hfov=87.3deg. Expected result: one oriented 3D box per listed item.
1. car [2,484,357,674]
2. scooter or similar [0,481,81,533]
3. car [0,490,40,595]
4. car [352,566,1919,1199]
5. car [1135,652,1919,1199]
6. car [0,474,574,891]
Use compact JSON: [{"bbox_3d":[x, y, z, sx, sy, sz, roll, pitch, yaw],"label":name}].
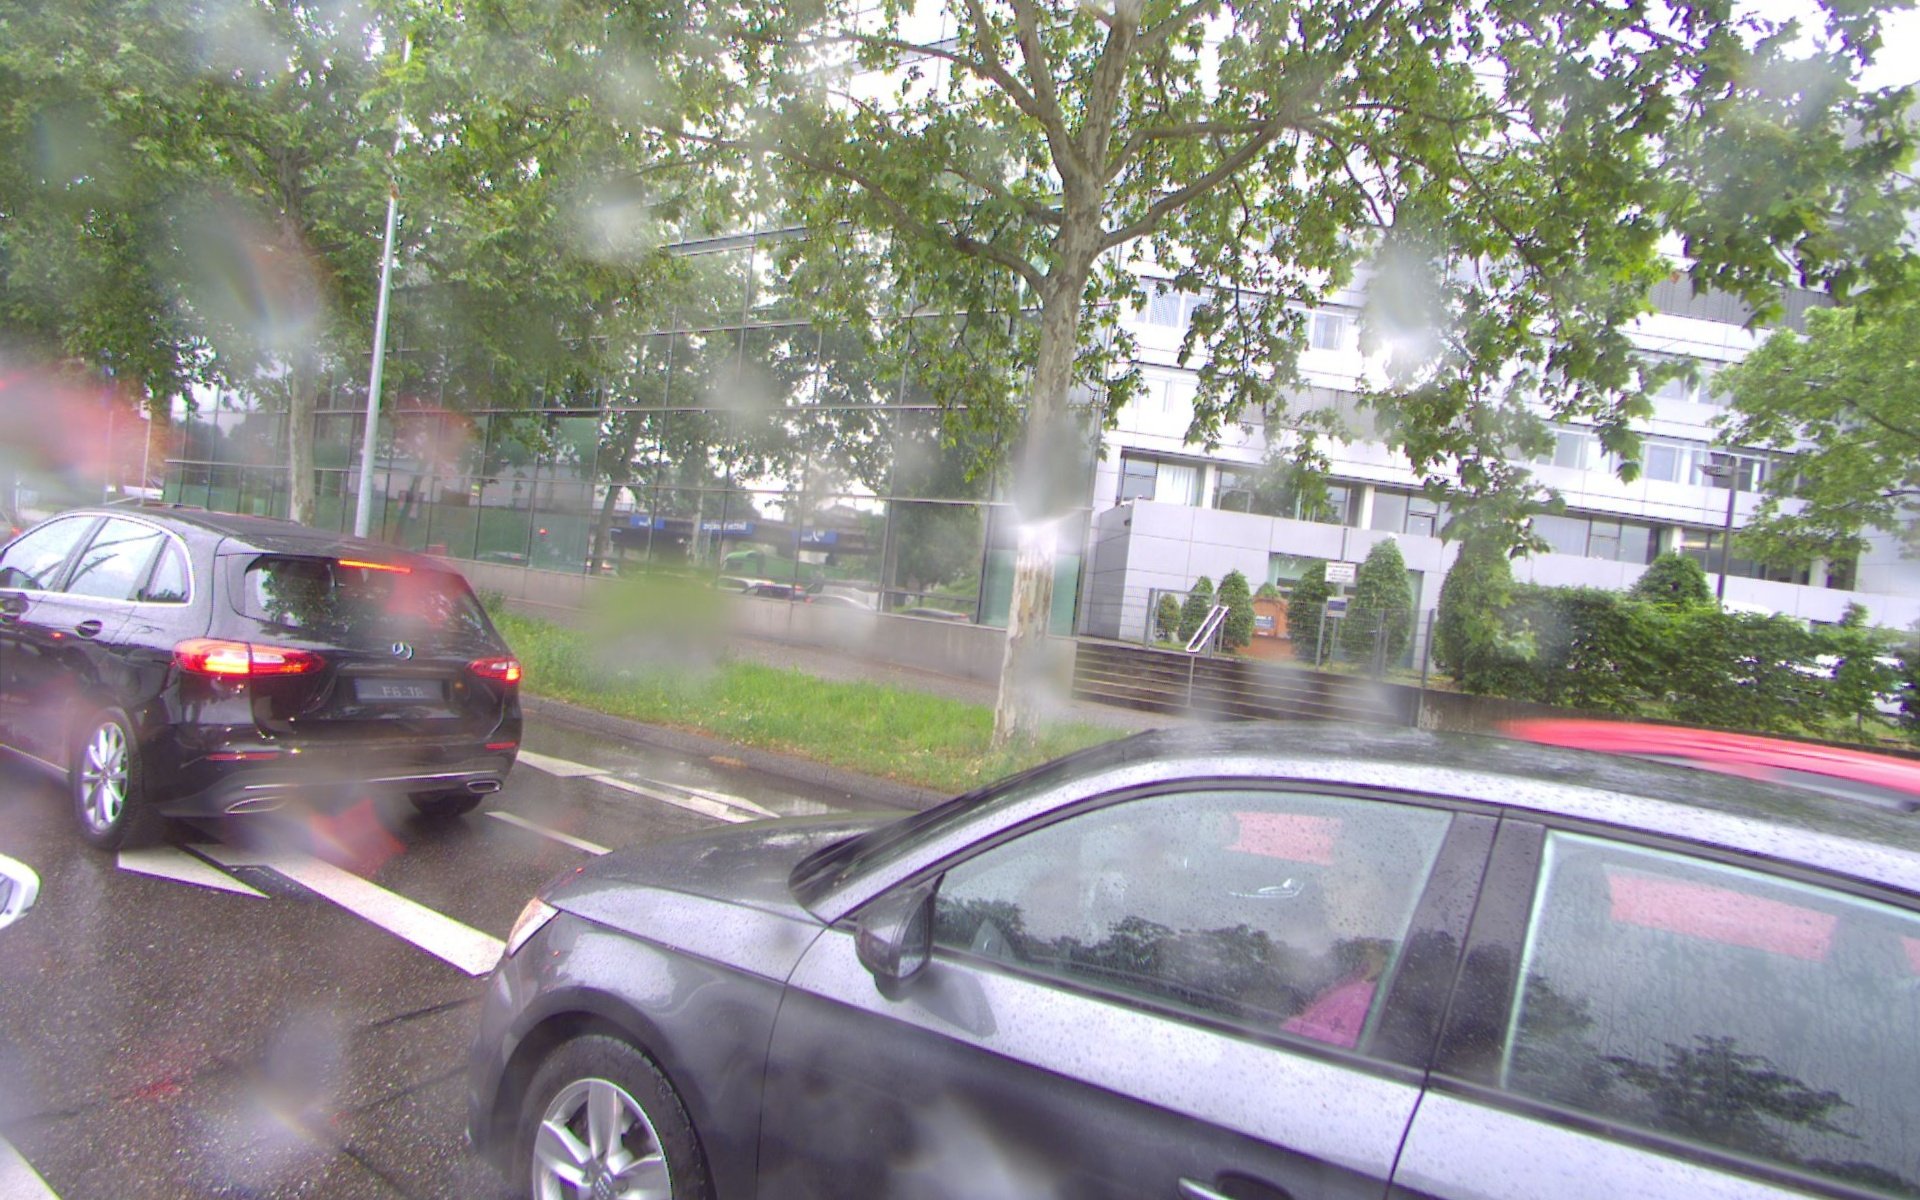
[{"bbox_3d":[-9.174,-0.275,11.756,4.200,1.714,1.714,6,-2,31],"label":"car"},{"bbox_3d":[-54.528,-5.515,58.138,5.228,2.476,1.893,7,0,-9],"label":"scooter or similar"},{"bbox_3d":[-17.340,-1.207,16.718,3.933,1.631,1.880,7,-2,32],"label":"car"},{"bbox_3d":[0.648,0.898,2.125,3.718,1.445,1.679,7,-1,31],"label":"car"},{"bbox_3d":[2.680,1.208,4.293,3.332,1.480,1.572,7,-1,31],"label":"car"},{"bbox_3d":[-4.344,0.241,5.750,4.022,1.573,1.751,7,-1,31],"label":"car"}]
